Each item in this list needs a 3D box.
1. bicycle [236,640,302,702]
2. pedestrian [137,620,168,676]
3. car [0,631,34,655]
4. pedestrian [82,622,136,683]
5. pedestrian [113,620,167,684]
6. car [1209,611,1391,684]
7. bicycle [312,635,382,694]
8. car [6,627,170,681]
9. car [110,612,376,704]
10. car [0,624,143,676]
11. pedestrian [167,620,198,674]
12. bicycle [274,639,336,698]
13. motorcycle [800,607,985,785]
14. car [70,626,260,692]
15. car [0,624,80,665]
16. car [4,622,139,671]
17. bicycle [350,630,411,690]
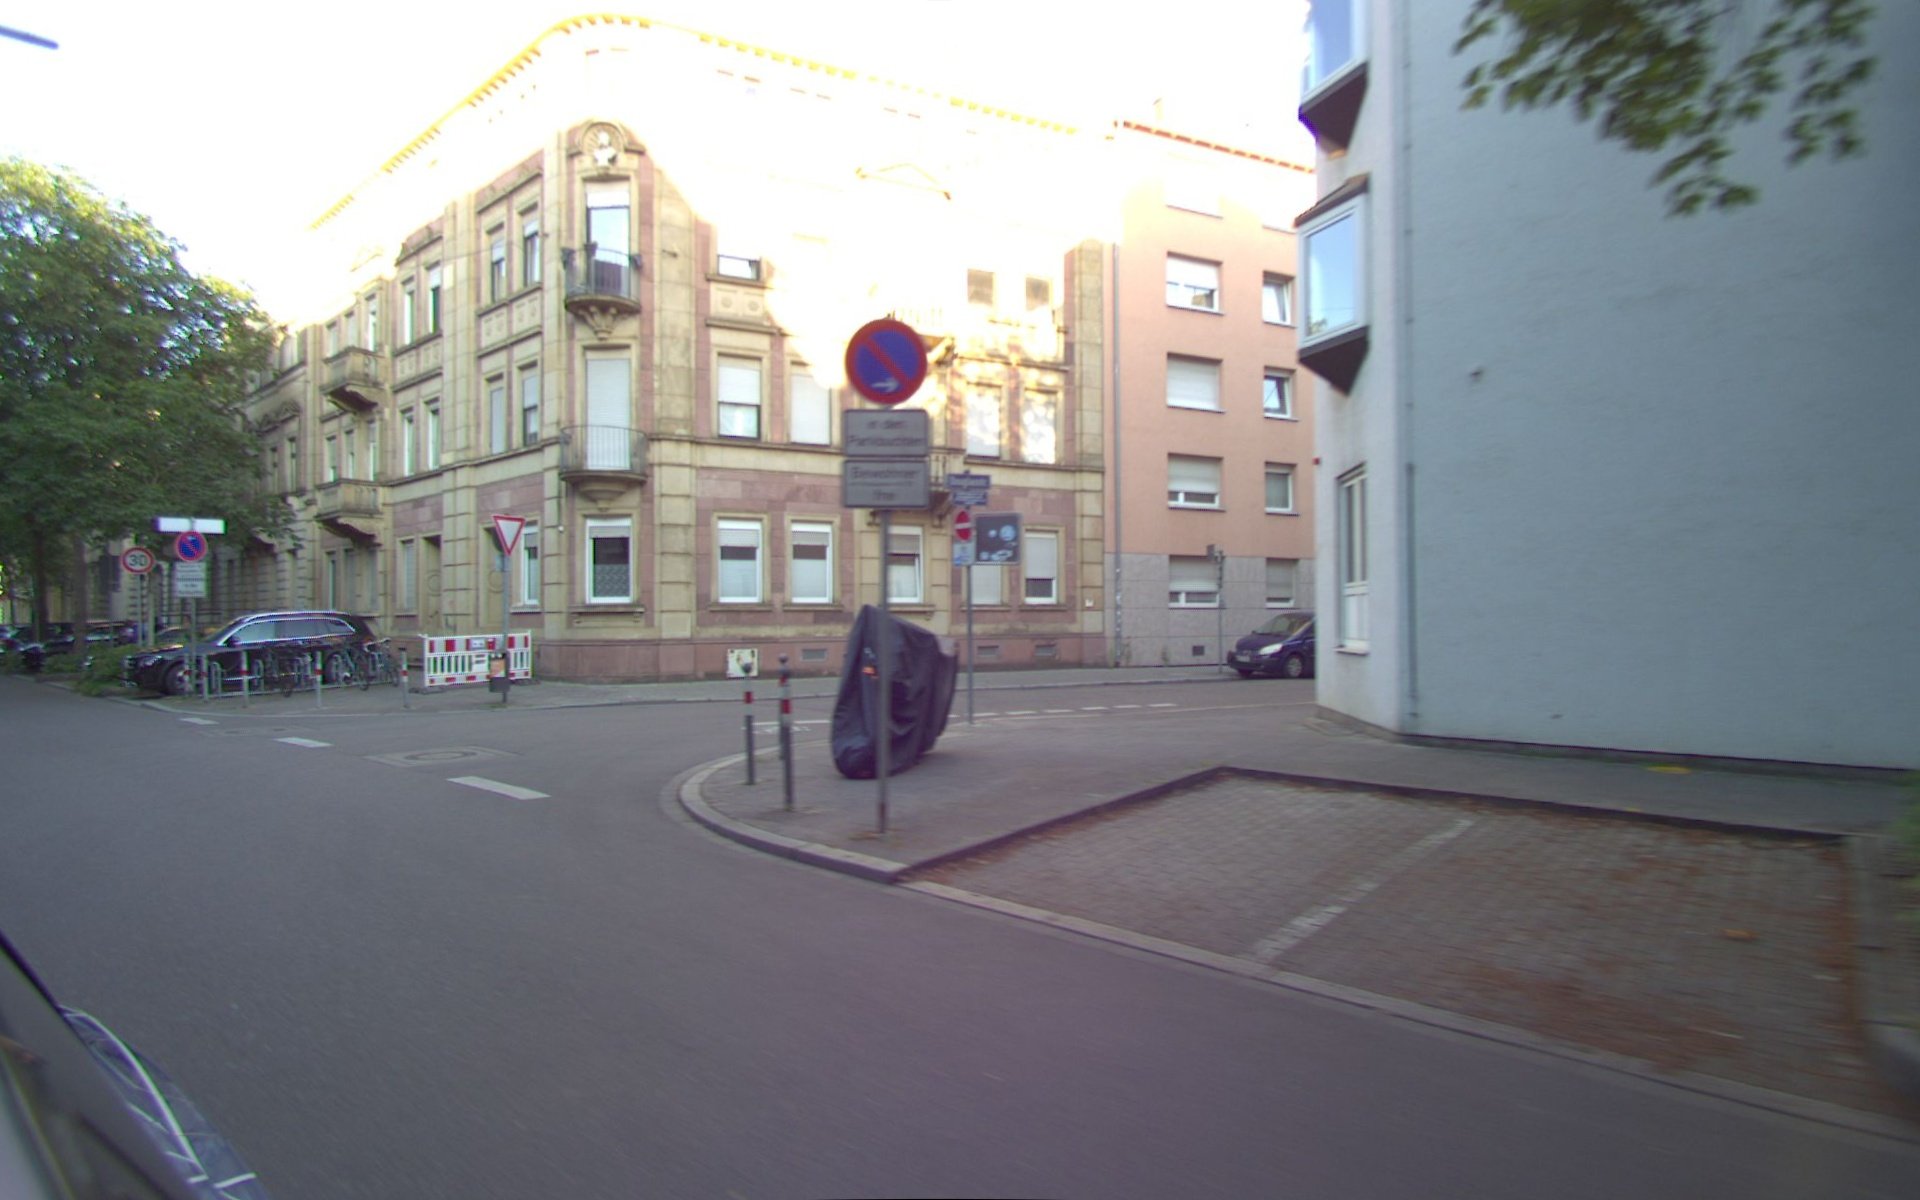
[{"bbox_3d":[-13.356,1.346,19.548,1.860,1.067,0.517,0,2,39],"label":"bicycle"},{"bbox_3d":[-26.240,1.545,32.868,0.725,1.752,0.672,-1,-1,-42],"label":"pedestrian"},{"bbox_3d":[-59.333,2.636,61.457,1.916,1.401,4.465,-2,-1,42],"label":"car"},{"bbox_3d":[-23.760,1.465,28.268,0.788,1.683,0.829,0,-2,9],"label":"pedestrian"},{"bbox_3d":[-22.777,1.449,28.132,0.788,1.750,0.829,0,-2,9],"label":"pedestrian"},{"bbox_3d":[8.516,1.124,25.340,4.074,1.603,2.007,0,1,-27],"label":"car"},{"bbox_3d":[-12.479,1.286,20.567,1.861,1.070,0.661,0,3,42],"label":"bicycle"},{"bbox_3d":[-28.536,1.705,33.183,1.908,1.544,3.902,-1,-1,43],"label":"car"},{"bbox_3d":[-15.375,1.175,21.893,1.872,1.663,4.379,-3,-1,42],"label":"car"},{"bbox_3d":[-33.387,1.824,37.815,1.906,1.684,4.157,-3,-1,41],"label":"car"},{"bbox_3d":[-25.884,1.559,33.688,0.725,1.752,0.672,-1,-1,-42],"label":"pedestrian"},{"bbox_3d":[-12.981,1.336,20.027,1.861,1.026,0.517,0,3,42],"label":"bicycle"},{"bbox_3d":[-0.572,0.837,9.719,0.854,1.493,2.199,-2,-2,23],"label":"motorcycle"},{"bbox_3d":[-20.982,1.513,26.803,1.871,1.469,3.654,-3,-1,40],"label":"car"},{"bbox_3d":[-42.827,2.074,46.034,1.780,1.608,3.925,-2,2,41],"label":"car"},{"bbox_3d":[-34.987,1.806,39.927,1.713,1.684,3.762,-3,-1,40],"label":"car"},{"bbox_3d":[-12.112,1.226,21.132,1.861,1.116,0.511,0,3,42],"label":"bicycle"}]
